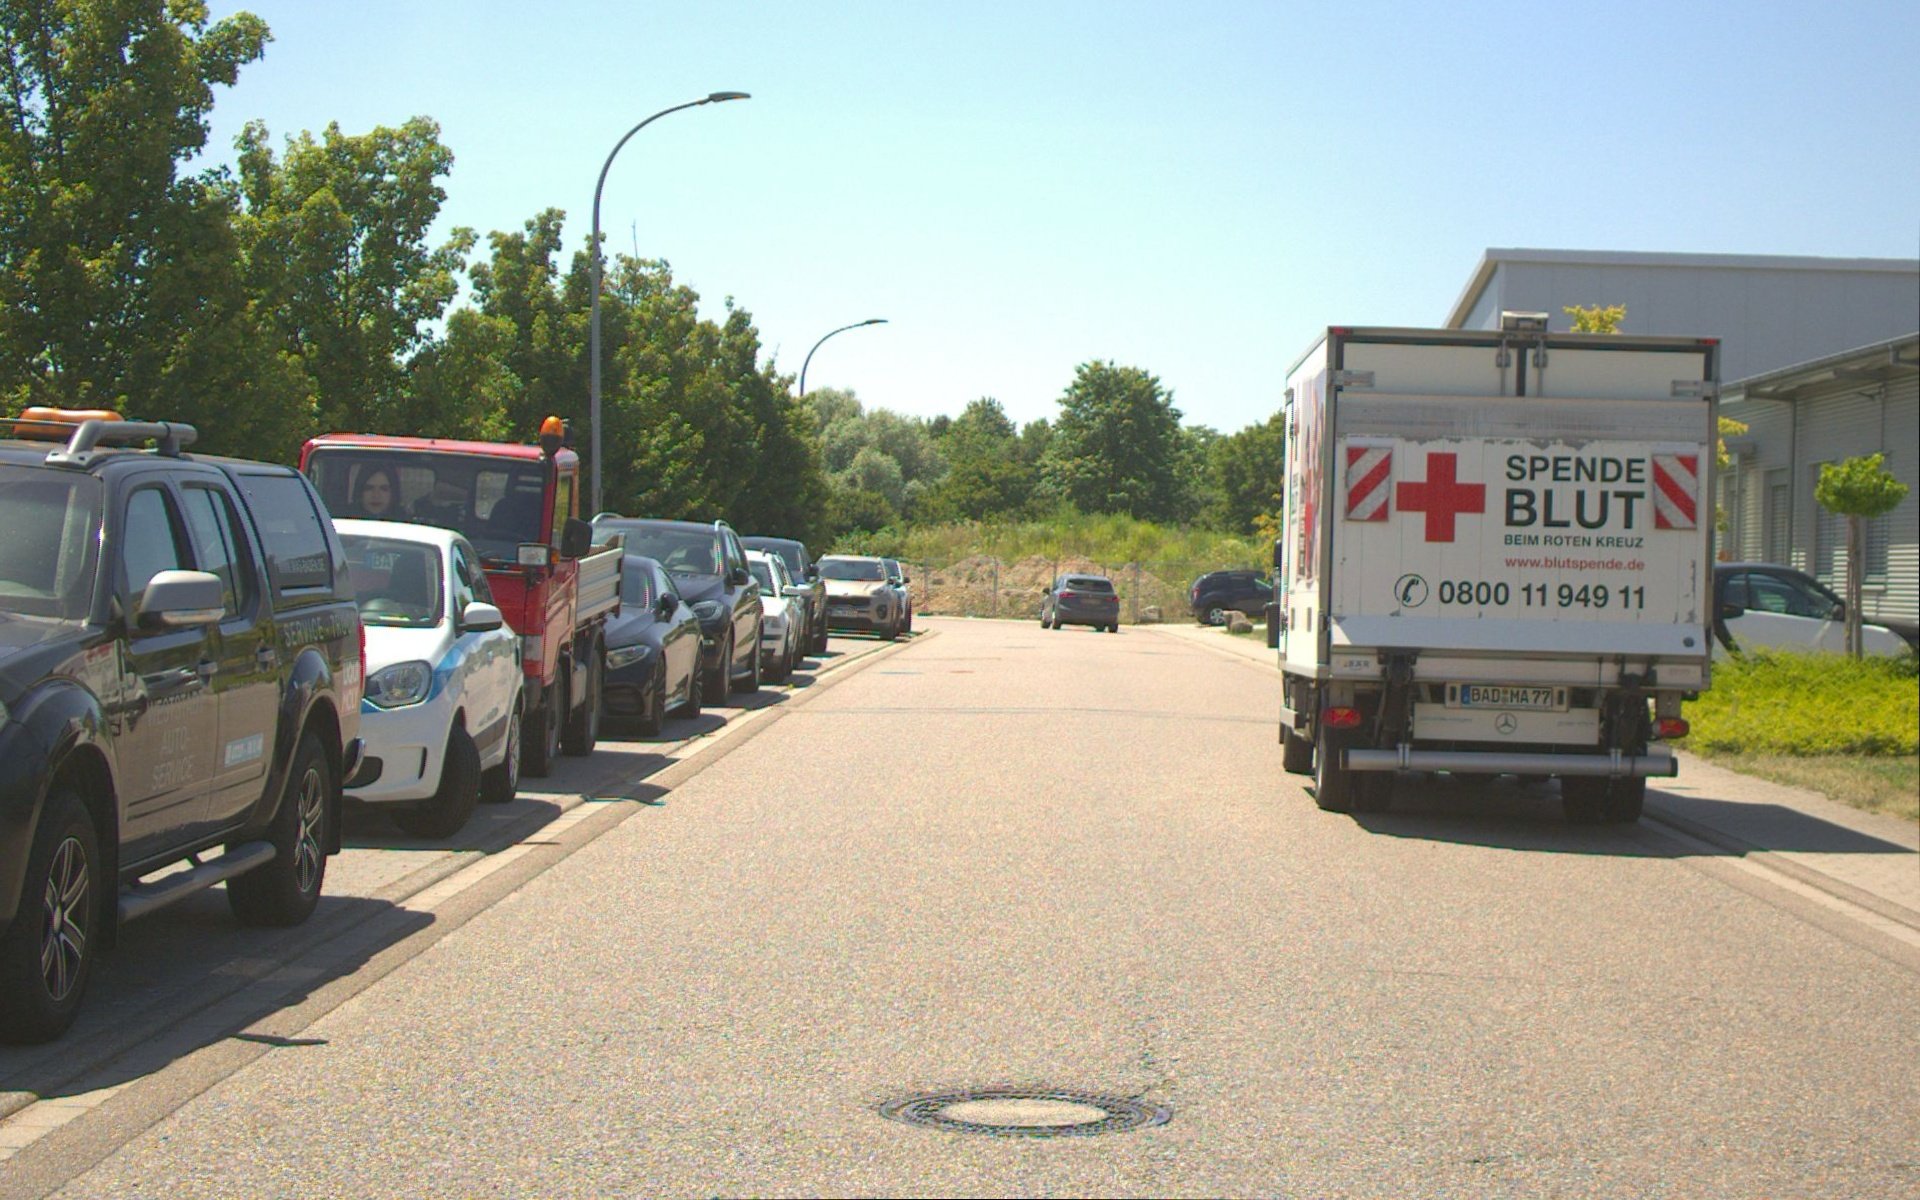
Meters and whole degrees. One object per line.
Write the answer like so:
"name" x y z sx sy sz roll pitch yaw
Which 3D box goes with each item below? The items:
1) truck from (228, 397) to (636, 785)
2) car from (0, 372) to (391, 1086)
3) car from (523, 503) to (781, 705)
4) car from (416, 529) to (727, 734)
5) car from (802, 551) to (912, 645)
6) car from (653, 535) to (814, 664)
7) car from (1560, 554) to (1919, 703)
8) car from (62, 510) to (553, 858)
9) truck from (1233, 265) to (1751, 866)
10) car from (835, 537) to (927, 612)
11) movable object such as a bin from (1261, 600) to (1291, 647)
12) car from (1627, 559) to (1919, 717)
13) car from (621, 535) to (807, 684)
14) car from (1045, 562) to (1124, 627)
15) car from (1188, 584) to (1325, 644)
"truck" -3.374 -0.085 22.863 1.851 2.215 4.646 3 1 0
"car" -3.451 0.268 11.595 1.974 1.894 5.402 3 1 1
"car" -2.957 0.010 34.045 1.851 1.752 4.986 3 1 2
"car" -3.085 0.211 28.258 1.851 1.438 4.753 3 1 1
"car" -2.015 -0.065 68.494 1.912 1.707 4.413 3 1 1
"car" -2.945 -0.044 45.645 1.851 1.514 5.167 3 1 -2
"car" 8.539 0.291 37.505 3.692 1.536 1.913 1 1 3
"car" -3.315 0.374 18.176 1.851 1.545 3.767 3 1 -1
"truck" 3.191 -0.240 22.329 2.457 3.194 6.882 3 1 3
"car" -1.808 -0.613 79.945 1.912 1.650 4.755 2 1 1
"movable object such as a bin" 6.504 0.477 70.801 0.558 0.943 0.539 1 0 0
"car" 8.274 0.375 35.038 2.706 1.536 1.412 1 1 3
"car" -2.777 0.070 39.732 1.851 1.514 4.905 3 1 -2
"car" 3.455 -0.172 96.306 1.912 1.707 4.031 2 1 -1
"car" 9.098 0.421 105.747 4.010 1.650 1.858 -3 0 1
